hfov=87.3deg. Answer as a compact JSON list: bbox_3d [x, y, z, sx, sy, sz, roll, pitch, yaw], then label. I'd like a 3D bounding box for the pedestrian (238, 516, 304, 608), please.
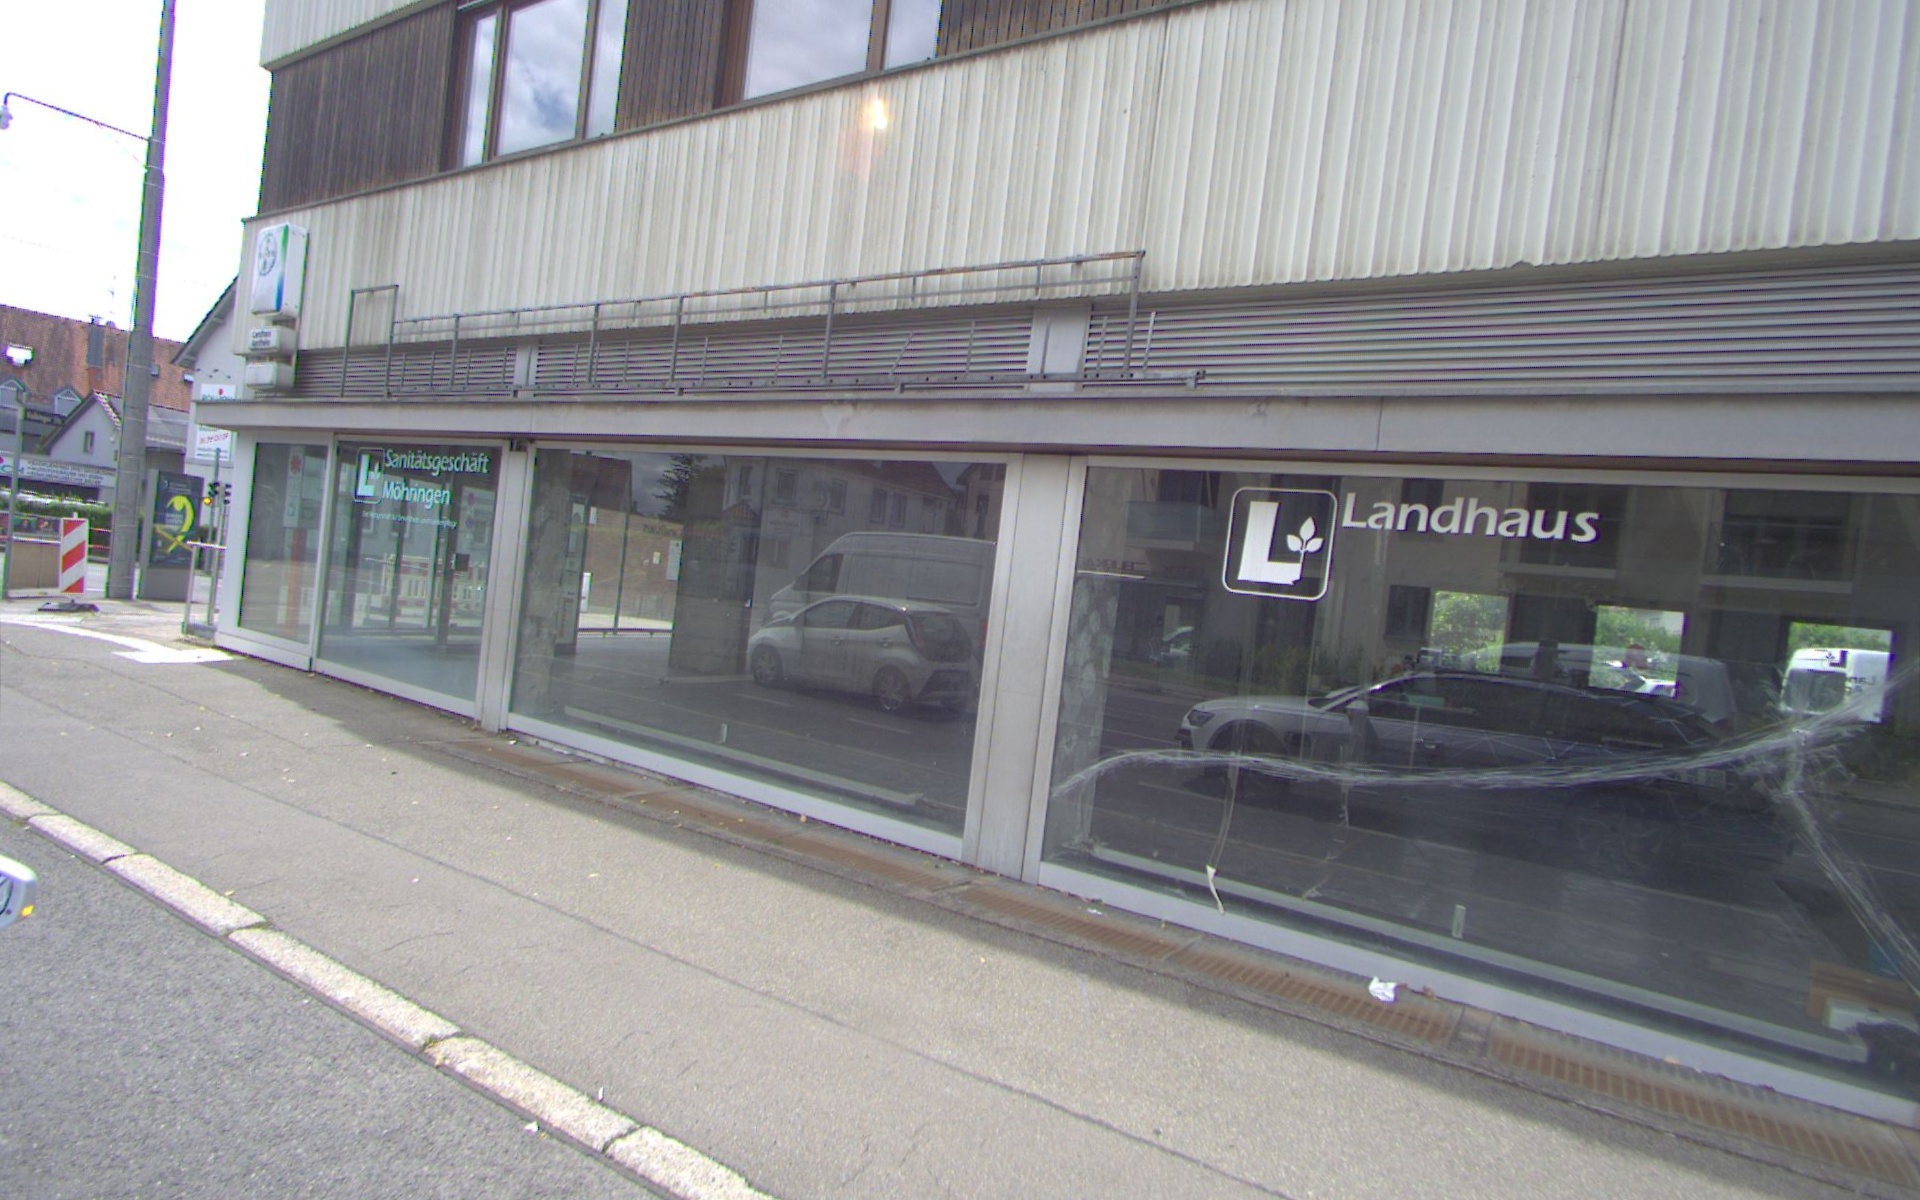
[{"bbox_3d":[-13.335,-0.737,19.468,0.831,1.657,0.863,7,0,-42],"label":"pedestrian"}]

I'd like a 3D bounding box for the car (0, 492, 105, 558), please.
[{"bbox_3d":[-34.865,-2.875,37.474,1.964,2.037,4.000,7,-1,24],"label":"car"}]

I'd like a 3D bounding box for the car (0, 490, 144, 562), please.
[{"bbox_3d":[-32.631,-2.677,36.591,1.964,1.970,4.000,6,-2,23],"label":"car"}]
